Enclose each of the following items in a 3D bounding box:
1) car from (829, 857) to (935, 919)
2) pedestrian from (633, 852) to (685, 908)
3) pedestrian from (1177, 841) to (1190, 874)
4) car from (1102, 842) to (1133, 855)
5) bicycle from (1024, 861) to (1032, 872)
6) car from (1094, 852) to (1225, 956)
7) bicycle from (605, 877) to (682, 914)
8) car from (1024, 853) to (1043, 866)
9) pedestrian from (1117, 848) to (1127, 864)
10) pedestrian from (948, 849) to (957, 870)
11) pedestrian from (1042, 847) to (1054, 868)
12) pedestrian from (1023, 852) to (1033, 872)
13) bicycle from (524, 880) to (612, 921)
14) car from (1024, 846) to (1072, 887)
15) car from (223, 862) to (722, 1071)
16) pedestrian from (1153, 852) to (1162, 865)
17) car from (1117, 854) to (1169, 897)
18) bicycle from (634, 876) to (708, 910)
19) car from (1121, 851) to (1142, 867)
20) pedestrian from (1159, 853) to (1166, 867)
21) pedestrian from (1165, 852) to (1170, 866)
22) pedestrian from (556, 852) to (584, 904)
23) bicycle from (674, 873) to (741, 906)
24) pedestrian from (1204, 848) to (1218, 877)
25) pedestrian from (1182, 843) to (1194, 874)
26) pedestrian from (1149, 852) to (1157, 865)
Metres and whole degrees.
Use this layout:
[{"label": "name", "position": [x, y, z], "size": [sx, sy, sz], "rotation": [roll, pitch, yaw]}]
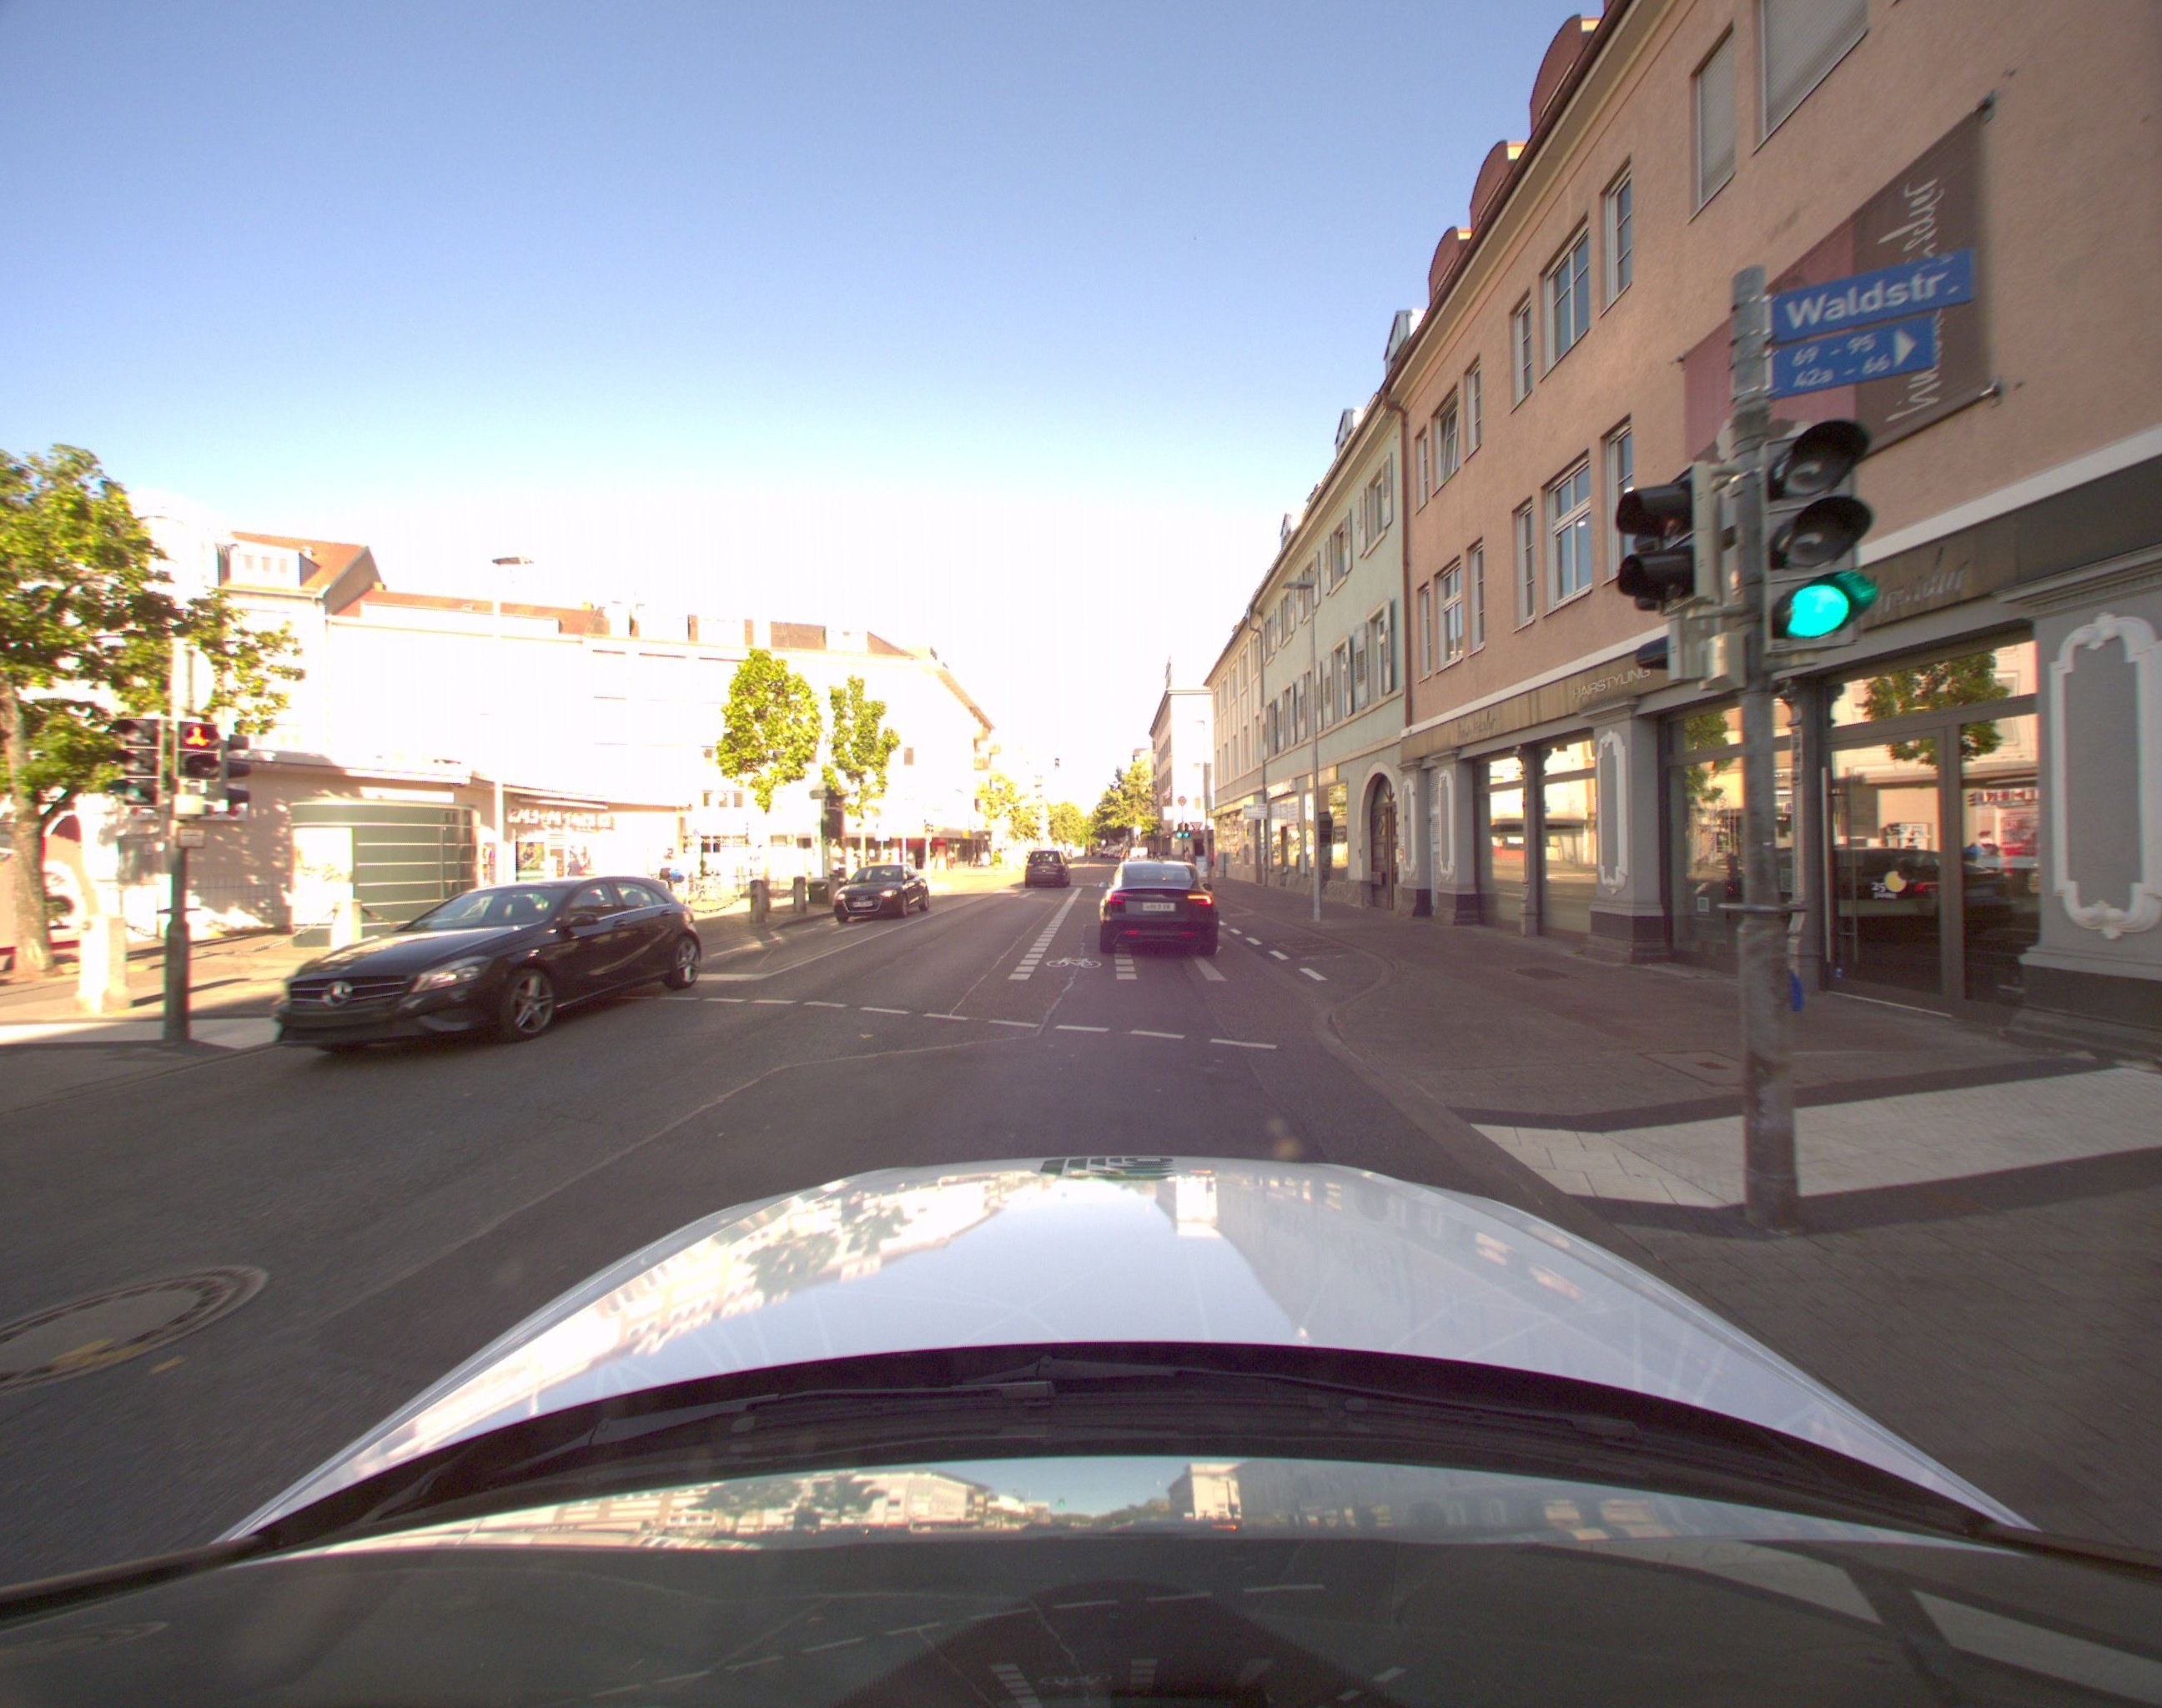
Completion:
[{"label": "car", "position": [-5.203, 0.842, 21.852], "size": [1.644, 1.397, 4.045], "rotation": [-3, 0, 2]}, {"label": "pedestrian", "position": [-13.124, 0.806, 25.359], "size": [1.074, 1.698, 0.906], "rotation": [-1, 0, 15]}, {"label": "pedestrian", "position": [5.956, 0.207, 47.270], "size": [0.637, 1.842, 0.682], "rotation": [-1, 0, 1]}, {"label": "car", "position": [6.552, -0.916, 145.460], "size": [5.374, 2.145, 2.000], "rotation": [-2, 0, 0]}, {"label": "bicycle", "position": [-4.746, 1.144, 73.006], "size": [0.480, 0.955, 1.449], "rotation": [-2, 0, -12]}, {"label": "car", "position": [1.233, 0.719, 13.994], "size": [1.862, 1.427, 4.367], "rotation": [-1, 1, 2]}, {"label": "bicycle", "position": [-12.650, 1.191, 23.570], "size": [1.873, 1.002, 0.767], "rotation": [-1, 0, 9]}, {"label": "car", "position": [-6.204, 0.733, 107.079], "size": [1.985, 1.598, 4.003], "rotation": [-1, 0, 3]}, {"label": "pedestrian", "position": [5.016, 0.210, 100.197], "size": [0.950, 1.915, 1.110], "rotation": [-2, 0, 17]}, {"label": "pedestrian", "position": [-10.421, 0.457, 66.135], "size": [0.557, 1.709, 0.712], "rotation": [-2, 0, -1]}, {"label": "pedestrian", "position": [-2.990, 0.324, 73.807], "size": [0.779, 1.866, 0.997], "rotation": [-4, 1, -13]}, {"label": "pedestrian", "position": [-4.717, 0.717, 72.713], "size": [0.791, 1.712, 0.651], "rotation": [-1, 0, -14]}, {"label": "bicycle", "position": [-13.216, 1.201, 21.009], "size": [1.873, 1.002, 0.767], "rotation": [-1, 0, 9]}, {"label": "car", "position": [-1.457, 0.550, 37.418], "size": [1.897, 1.733, 4.290], "rotation": [-1, 0, 2]}, {"label": "car", "position": [-5.594, 0.884, 8.350], "size": [1.742, 1.423, 4.256], "rotation": [-4, 0, 1]}, {"label": "pedestrian", "position": [8.214, 0.501, 87.495], "size": [0.728, 1.347, 1.059], "rotation": [-2, 0, -1]}, {"label": "car", "position": [2.229, 0.733, 29.765], "size": [1.754, 1.418, 4.358], "rotation": [-1, 0, 3]}, {"label": "bicycle", "position": [-13.049, 1.242, 25.940], "size": [1.997, 1.002, 0.892], "rotation": [-1, 0, 15]}, {"label": "car", "position": [5.121, 0.494, 83.722], "size": [1.993, 1.636, 4.290], "rotation": [-1, 0, 1]}, {"label": "pedestrian", "position": [7.802, 0.535, 78.001], "size": [0.584, 1.313, 0.560], "rotation": [-2, 0, 1]}, {"label": "pedestrian", "position": [8.374, 0.519, 78.772], "size": [0.485, 1.322, 0.655], "rotation": [-2, 0, 9]}, {"label": "pedestrian", "position": [-17.101, 0.797, 27.264], "size": [0.517, 1.709, 0.611], "rotation": [-2, 0, 1]}, {"label": "bicycle", "position": [-12.936, 1.207, 28.235], "size": [1.980, 1.088, 0.754], "rotation": [-1, 0, 3]}, {"label": "pedestrian", "position": [7.791, 0.490, 48.899], "size": [0.687, 1.703, 0.913], "rotation": [-2, 0, 2]}, {"label": "pedestrian", "position": [6.146, 0.250, 46.727], "size": [0.570, 1.759, 0.649], "rotation": [-1, 0, 1]}, {"label": "pedestrian", "position": [7.843, 0.507, 88.611], "size": [0.707, 1.347, 1.059], "rotation": [-2, 0, -2]}]
